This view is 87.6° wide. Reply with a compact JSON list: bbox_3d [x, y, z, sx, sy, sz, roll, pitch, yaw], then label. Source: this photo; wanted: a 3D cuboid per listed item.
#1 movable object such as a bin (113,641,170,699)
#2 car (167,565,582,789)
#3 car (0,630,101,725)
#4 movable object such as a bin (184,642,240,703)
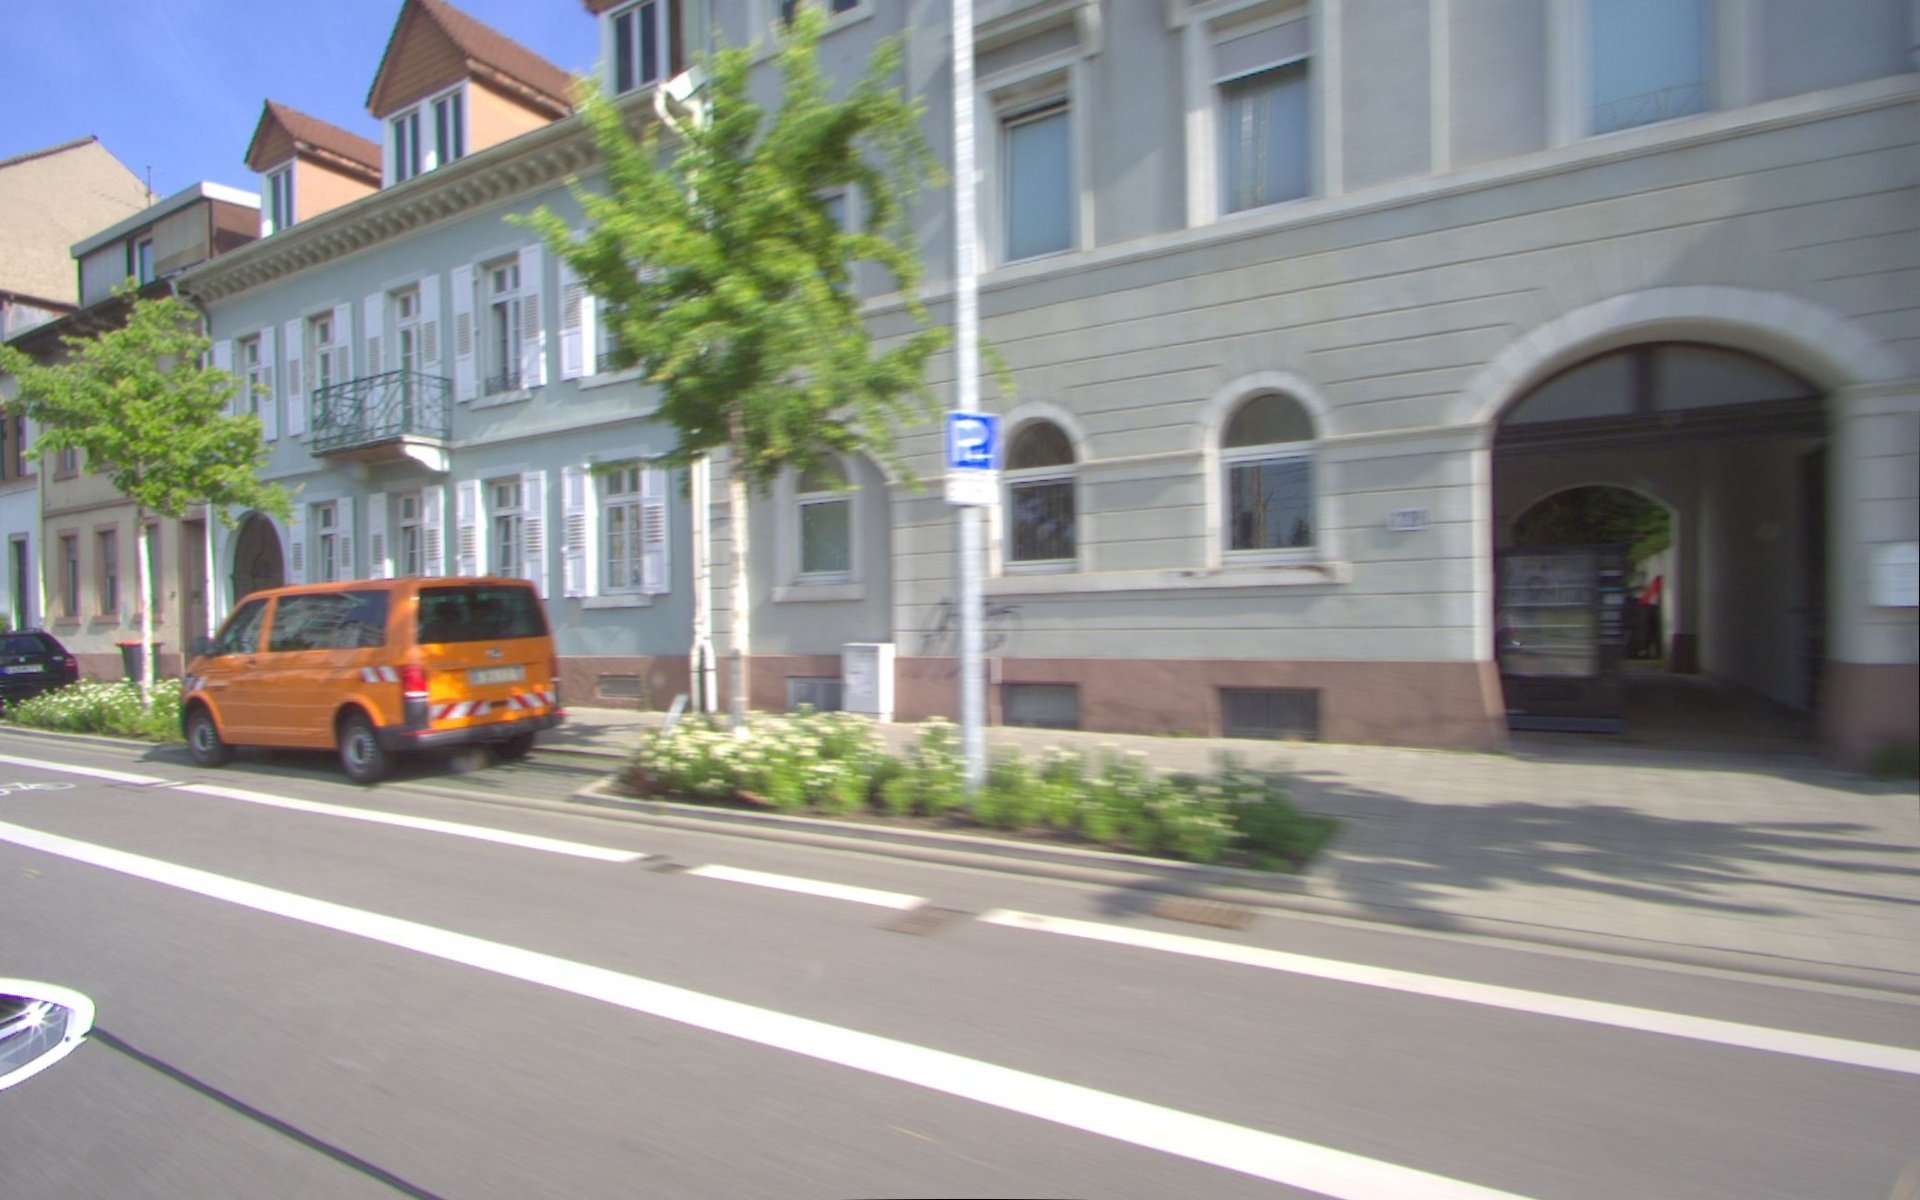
[{"bbox_3d":[-17.894,1.520,21.903,0.762,1.215,0.739,-1,-1,30],"label":"movable object such as a bin"},{"bbox_3d":[-6.561,0.746,11.132,4.520,2.040,2.060,-1,-1,30],"label":"car"},{"bbox_3d":[-17.245,1.342,17.803,4.249,1.502,1.671,-2,0,30],"label":"car"},{"bbox_3d":[-15.280,1.467,20.458,0.769,1.215,0.678,-1,-1,30],"label":"movable object such as a bin"}]
